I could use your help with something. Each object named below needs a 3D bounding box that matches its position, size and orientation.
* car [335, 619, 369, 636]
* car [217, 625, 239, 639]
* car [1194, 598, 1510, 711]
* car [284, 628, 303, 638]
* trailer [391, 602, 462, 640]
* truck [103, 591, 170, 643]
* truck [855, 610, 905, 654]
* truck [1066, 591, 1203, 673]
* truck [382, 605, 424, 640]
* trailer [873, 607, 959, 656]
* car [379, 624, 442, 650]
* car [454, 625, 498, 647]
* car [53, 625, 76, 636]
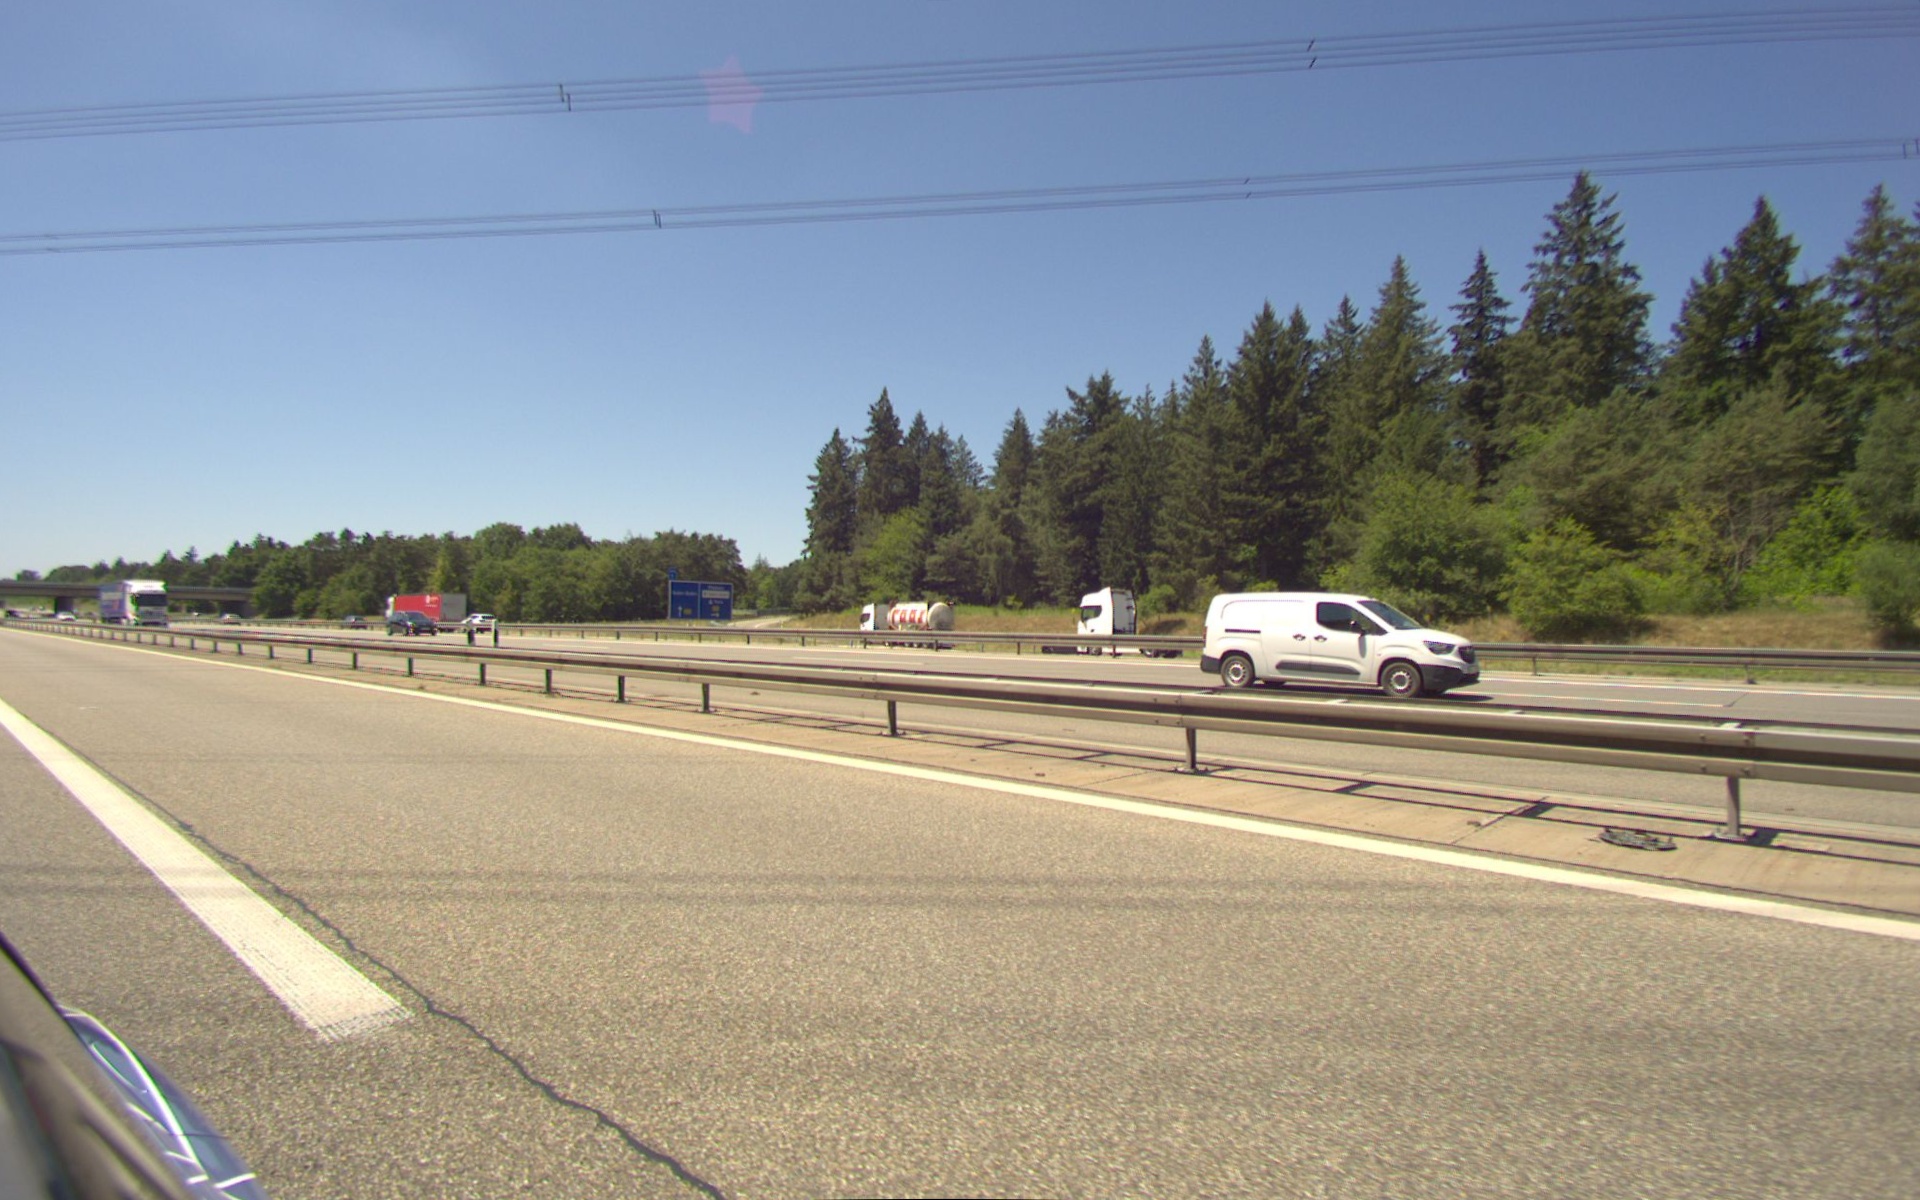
[{"bbox_3d":[-66.501,2.977,110.639,4.825,1.696,1.894,1,0,43],"label":"car"},{"bbox_3d":[-98.216,4.302,135.783,1.751,1.696,4.829,1,0,-44],"label":"car"},{"bbox_3d":[6.882,0.901,18.198,5.019,1.767,1.752,-1,-2,43],"label":"car"},{"bbox_3d":[-123.114,6.090,186.969,3.998,1.663,1.973,-1,-2,41],"label":"car"},{"bbox_3d":[-56.971,2.361,107.801,13.743,3.826,2.513,-2,-2,44],"label":"trailer"},{"bbox_3d":[-68.269,1.463,83.810,11.045,4.089,2.674,-1,-2,42],"label":"truck"},{"bbox_3d":[-7.071,2.813,89.474,2.731,3.826,4.009,1,-2,-36],"label":"truck"},{"bbox_3d":[9.984,1.737,58.519,7.534,4.378,2.827,1,-1,44],"label":"truck"},{"bbox_3d":[-62.031,2.530,112.673,5.669,3.826,2.513,-2,-2,43],"label":"truck"},{"bbox_3d":[-3.819,2.652,84.873,2.735,3.827,8.957,1,-2,-36],"label":"trailer"},{"bbox_3d":[-33.195,2.216,61.087,4.240,1.487,1.973,-1,-1,41],"label":"car"},{"bbox_3d":[-41.837,3.096,87.461,4.825,1.696,1.752,1,0,43],"label":"car"},{"bbox_3d":[-136.285,4.612,154.027,3.997,1.580,1.973,-1,-2,40],"label":"car"}]
